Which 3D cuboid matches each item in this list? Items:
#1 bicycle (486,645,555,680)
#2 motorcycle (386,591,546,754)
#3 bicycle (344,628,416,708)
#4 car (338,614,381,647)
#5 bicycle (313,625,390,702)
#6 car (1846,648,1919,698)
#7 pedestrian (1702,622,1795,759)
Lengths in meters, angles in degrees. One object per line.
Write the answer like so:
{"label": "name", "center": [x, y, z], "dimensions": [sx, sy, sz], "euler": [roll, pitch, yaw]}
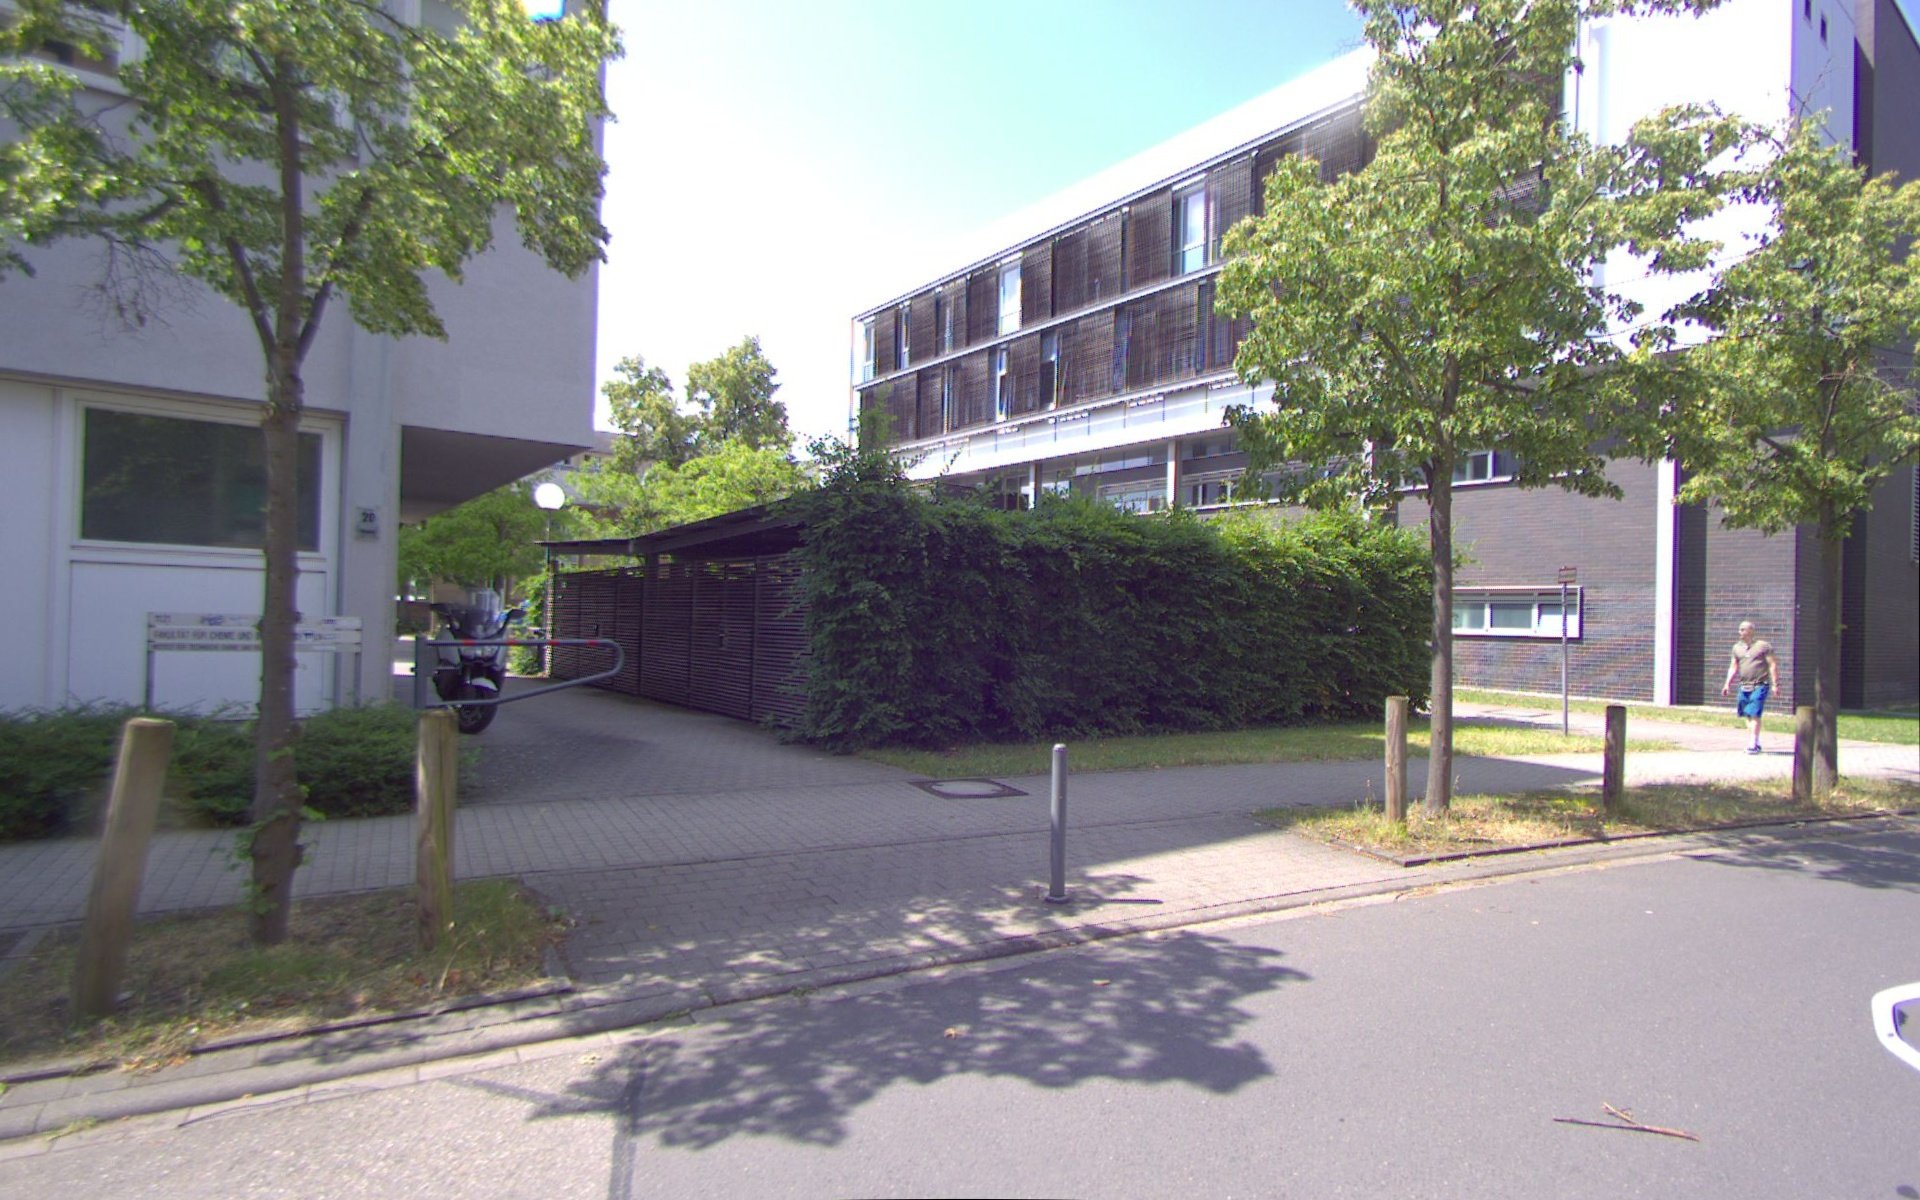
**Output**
{"label": "bicycle", "center": [-9.515, 1.349, 21.753], "dimensions": [1.320, 0.720, 0.443], "euler": [2, -1, -28]}
{"label": "motorcycle", "center": [-5.376, 0.719, 10.851], "dimensions": [1.073, 1.571, 2.078], "euler": [2, -1, -39]}
{"label": "bicycle", "center": [-8.905, 1.013, 15.496], "dimensions": [0.514, 1.136, 2.042], "euler": [2, -1, -18]}
{"label": "car", "center": [-30.199, 1.526, 50.467], "dimensions": [1.611, 1.552, 3.962], "euler": [2, -2, -34]}
{"label": "bicycle", "center": [-9.695, 0.986, 16.057], "dimensions": [0.572, 1.136, 1.886], "euler": [2, -1, -17]}
{"label": "car", "center": [29.510, 2.264, 31.538], "dimensions": [4.126, 1.341, 1.803], "euler": [3, 0, -38]}
{"label": "pedestrian", "center": [10.687, 1.209, 13.625], "dimensions": [0.896, 1.787, 0.584], "euler": [2, -1, -17]}
